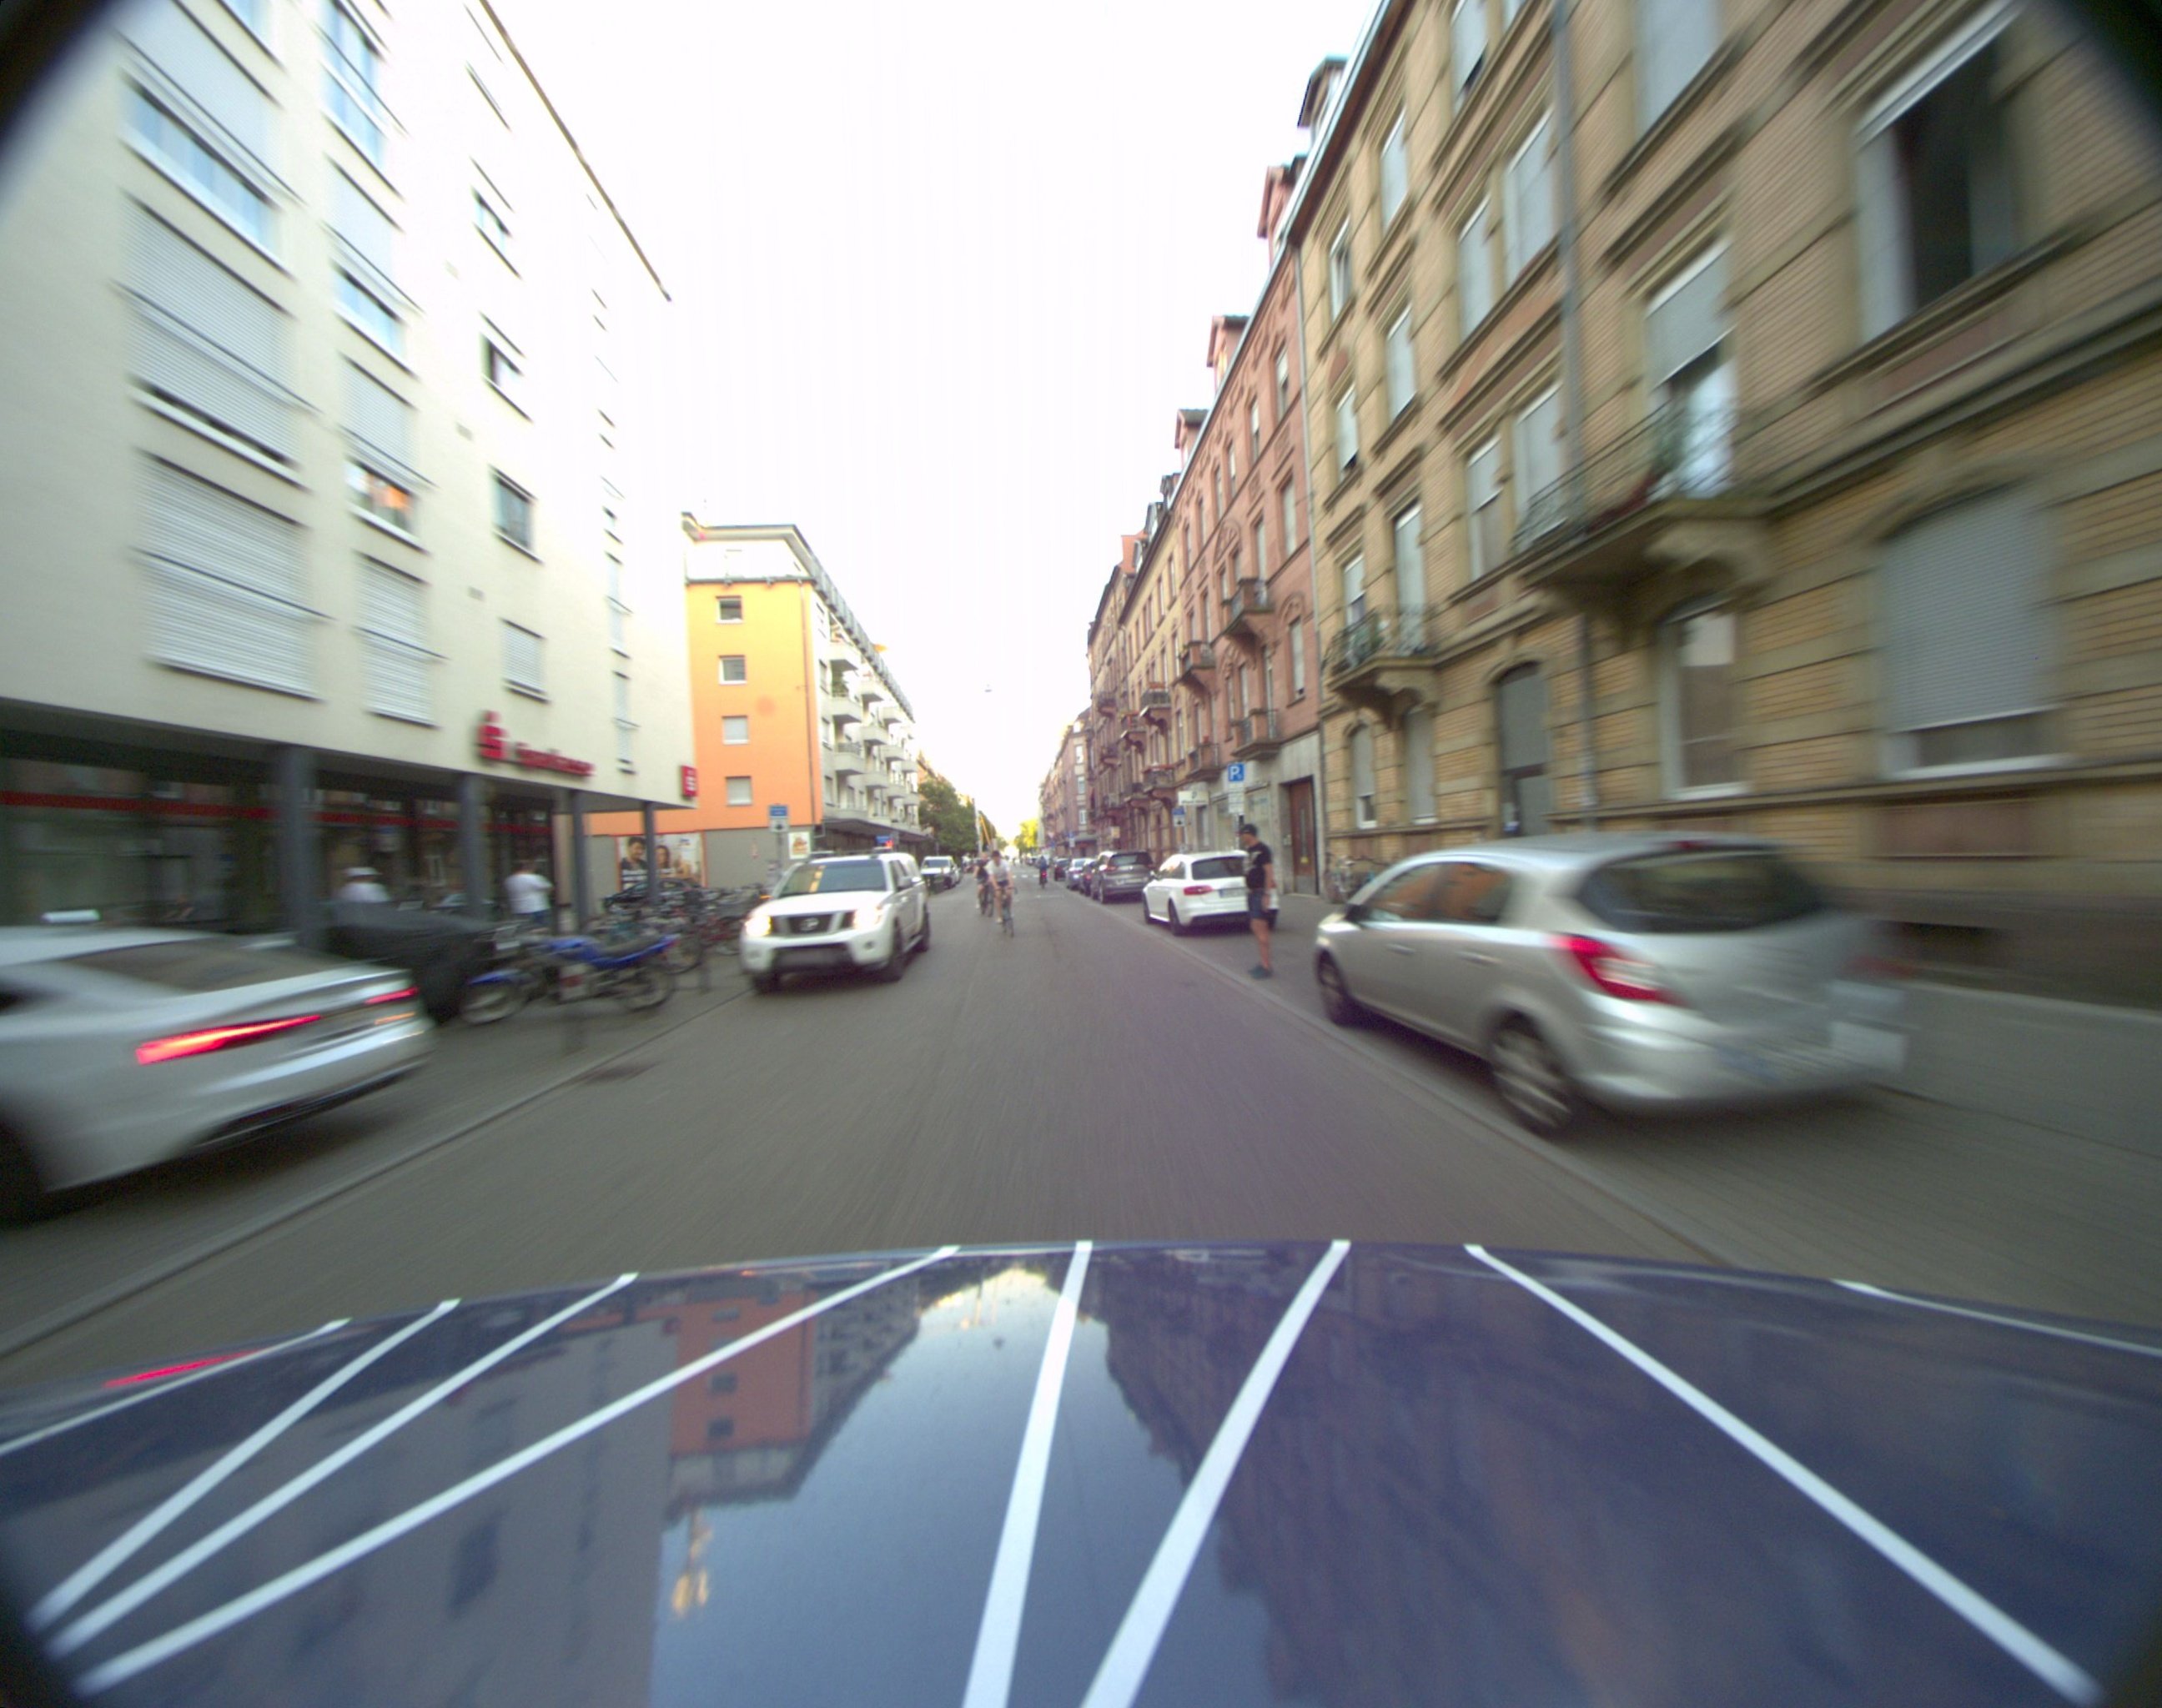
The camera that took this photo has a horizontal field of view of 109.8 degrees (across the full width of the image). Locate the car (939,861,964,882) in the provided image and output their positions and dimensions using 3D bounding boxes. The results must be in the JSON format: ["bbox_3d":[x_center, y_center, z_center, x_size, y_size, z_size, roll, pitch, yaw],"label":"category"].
[{"bbox_3d":[-9.632,1.286,56.677,1.597,1.492,3.421,-1,0,-7],"label":"car"}]

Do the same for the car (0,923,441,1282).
[{"bbox_3d":[-6.497,1.234,4.013,4.438,1.447,1.778,-1,0,-11],"label":"car"}]

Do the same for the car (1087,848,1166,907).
[{"bbox_3d":[1.381,0.717,24.873,1.858,1.624,4.444,-4,0,-5],"label":"car"}]

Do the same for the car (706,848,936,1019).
[{"bbox_3d":[-3.502,0.899,11.429,1.916,1.842,5.267,-4,1,-5],"label":"car"}]

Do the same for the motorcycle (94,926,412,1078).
[{"bbox_3d":[-7.600,1.333,7.056,2.063,1.236,0.717,0,0,-4],"label":"motorcycle"}]

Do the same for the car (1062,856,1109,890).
[{"bbox_3d":[0.152,0.864,36.480,1.728,1.412,4.579,-4,0,-5],"label":"car"}]

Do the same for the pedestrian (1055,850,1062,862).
[{"bbox_3d":[-3.428,0.253,115.251,0.748,1.733,1.213,-4,1,4],"label":"pedestrian"}]

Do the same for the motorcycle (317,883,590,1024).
[{"bbox_3d":[-7.418,1.149,9.085,2.498,1.540,0.823,-1,1,-2],"label":"motorcycle"}]

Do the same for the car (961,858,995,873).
[{"bbox_3d":[-13.603,1.555,100.564,4.006,1.658,1.823,-4,2,-36],"label":"car"}]

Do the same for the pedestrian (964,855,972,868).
[{"bbox_3d":[-14.018,0.965,94.198,0.538,1.597,0.870,-2,-1,22],"label":"pedestrian"}]

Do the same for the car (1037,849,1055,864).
[{"bbox_3d":[-5.013,0.383,107.847,2.142,1.947,4.766,-4,0,-6],"label":"car"}]

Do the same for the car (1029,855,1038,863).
[{"bbox_3d":[-11.394,1.286,182.720,1.869,1.729,3.798,-4,1,-2],"label":"car"}]

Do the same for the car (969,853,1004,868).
[{"bbox_3d":[-16.064,1.021,129.288,5.153,2.182,2.333,-4,2,-30],"label":"car"}]

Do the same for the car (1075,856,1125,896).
[{"bbox_3d":[0.698,0.833,30.434,1.589,1.412,3.695,-4,0,-4],"label":"car"}]

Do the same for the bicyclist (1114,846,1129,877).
[{"bbox_3d":[2.311,0.428,43.295,0.709,1.720,0.843,-3,2,7],"label":"bicyclist"}]

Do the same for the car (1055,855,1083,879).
[{"bbox_3d":[-0.816,0.856,50.654,1.698,1.412,3.853,-4,0,-2],"label":"car"}]

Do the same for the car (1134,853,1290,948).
[{"bbox_3d":[2.277,0.774,14.502,1.763,1.403,4.506,-4,0,-5],"label":"car"}]

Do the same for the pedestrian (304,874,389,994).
[{"bbox_3d":[-10.926,1.170,11.311,0.663,1.713,0.663,-2,-1,22],"label":"pedestrian"}]

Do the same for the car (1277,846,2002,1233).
[{"bbox_3d":[2.865,0.769,5.153,1.722,1.449,3.999,-5,0,-4],"label":"car"}]

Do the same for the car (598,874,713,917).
[{"bbox_3d":[-17.566,1.709,31.502,3.678,1.467,1.704,-3,1,-3],"label":"car"}]

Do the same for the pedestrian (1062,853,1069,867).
[{"bbox_3d":[-2.108,0.767,100.199,0.655,1.768,0.692,-4,0,13],"label":"pedestrian"}]

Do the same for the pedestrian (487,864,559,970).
[{"bbox_3d":[-9.519,1.044,12.959,0.915,1.713,0.774,0,-2,-42],"label":"pedestrian"}]

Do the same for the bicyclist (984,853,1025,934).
[{"bbox_3d":[-1.500,0.767,15.049,0.650,1.500,0.953,-4,2,-3],"label":"bicyclist"}]

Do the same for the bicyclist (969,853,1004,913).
[{"bbox_3d":[-2.611,0.786,20.930,0.794,1.562,0.825,-4,0,-11],"label":"bicyclist"}]

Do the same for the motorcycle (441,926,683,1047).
[{"bbox_3d":[-5.585,1.399,8.337,2.066,1.072,0.662,-1,1,-20],"label":"motorcycle"}]

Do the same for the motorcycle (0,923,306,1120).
[{"bbox_3d":[-7.624,1.280,6.011,2.064,1.361,0.717,0,0,-9],"label":"motorcycle"}]

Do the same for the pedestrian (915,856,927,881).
[{"bbox_3d":[-11.788,1.082,55.856,0.710,1.818,0.860,-2,2,-5],"label":"pedestrian"}]

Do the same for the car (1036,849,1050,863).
[{"bbox_3d":[-5.655,0.282,113.948,1.880,1.892,4.324,-4,0,-4],"label":"car"}]

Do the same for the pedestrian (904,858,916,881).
[{"bbox_3d":[-12.570,1.124,55.863,0.710,1.656,0.744,-2,2,-5],"label":"pedestrian"}]

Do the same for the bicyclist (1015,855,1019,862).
[{"bbox_3d":[-14.507,1.071,172.145,0.755,1.630,1.200,-3,0,-11],"label":"bicyclist"}]

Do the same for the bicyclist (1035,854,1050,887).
[{"bbox_3d":[-1.907,0.800,38.095,0.646,1.611,0.918,-1,0,1],"label":"bicyclist"}]

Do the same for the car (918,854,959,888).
[{"bbox_3d":[-8.825,1.001,47.405,1.964,1.962,5.000,-1,0,-5],"label":"car"}]
